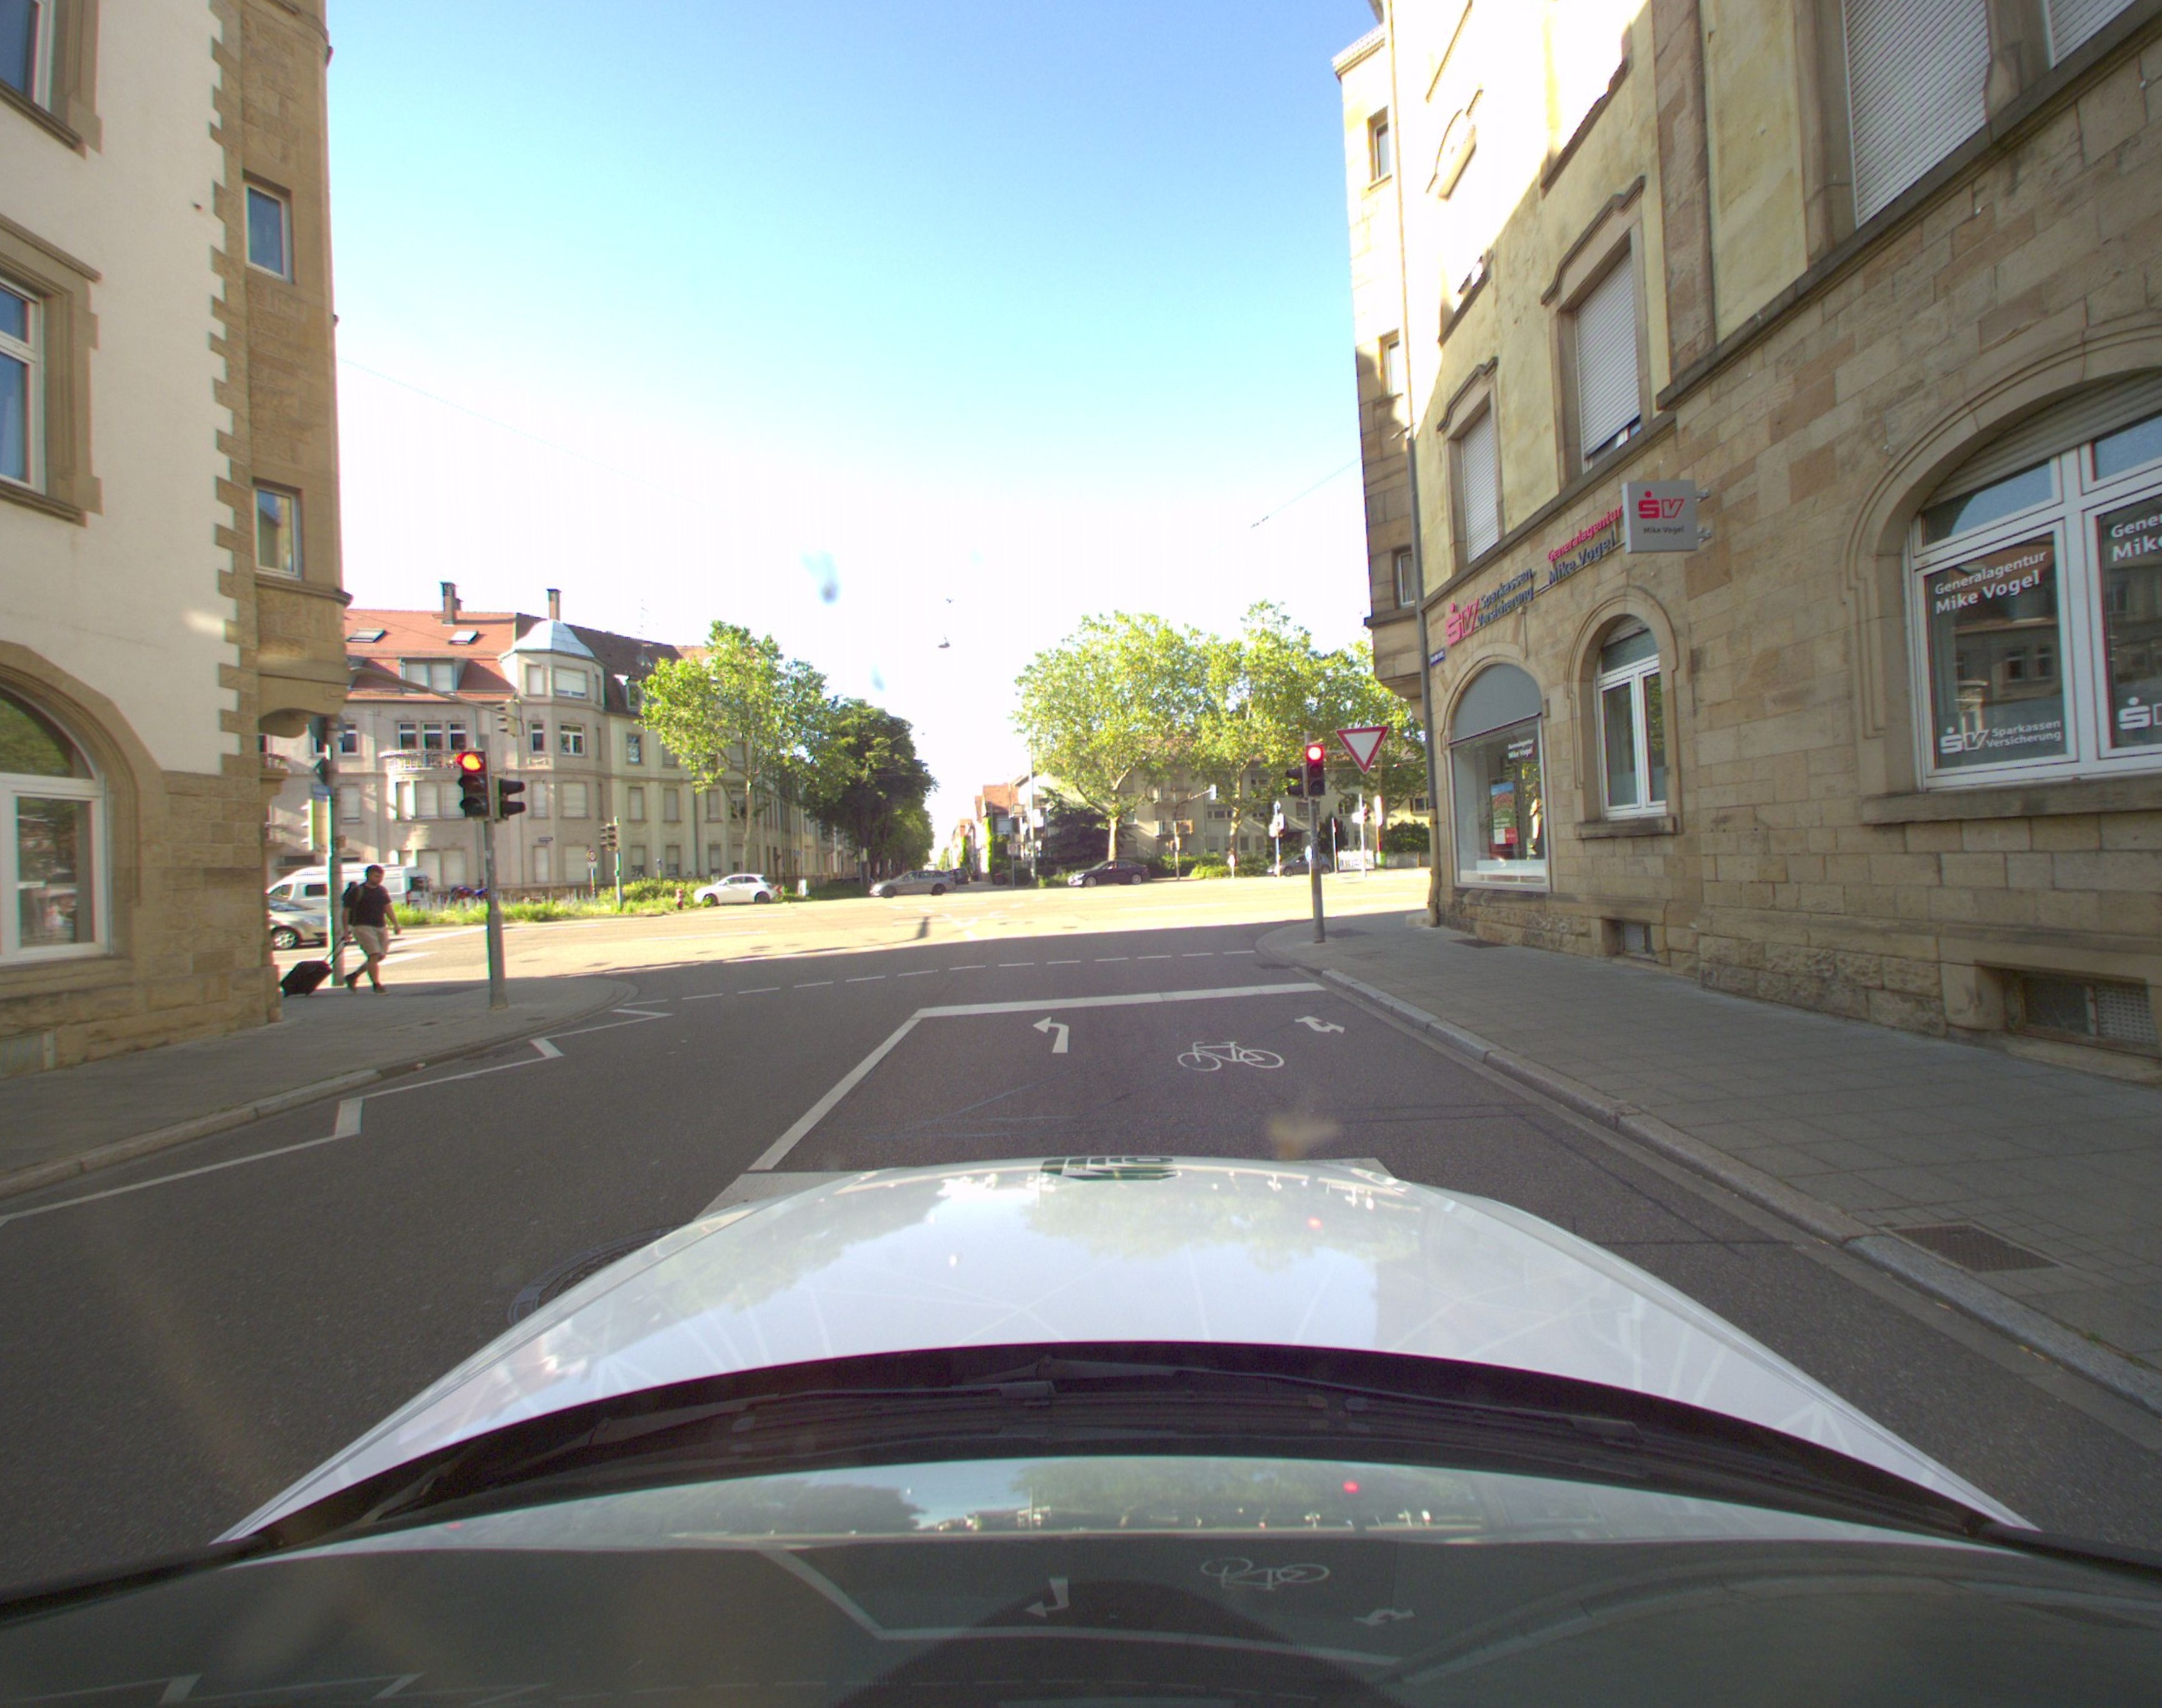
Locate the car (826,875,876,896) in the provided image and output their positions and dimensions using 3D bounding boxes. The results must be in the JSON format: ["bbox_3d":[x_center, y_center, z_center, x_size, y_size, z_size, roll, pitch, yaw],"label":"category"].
[{"bbox_3d":[-17.948,2.471,63.714,3.636,1.457,1.650,-2,0,-14],"label":"car"}]

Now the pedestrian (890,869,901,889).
[{"bbox_3d":[-13.346,1.814,58.522,0.704,1.442,0.487,0,-1,-17],"label":"pedestrian"}]

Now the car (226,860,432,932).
[{"bbox_3d":[-31.761,1.708,34.645,6.123,2.637,1.884,-2,-1,-17],"label":"car"}]

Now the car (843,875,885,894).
[{"bbox_3d":[-19.905,2.791,74.776,3.636,1.457,1.650,-2,0,-14],"label":"car"}]

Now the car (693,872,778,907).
[{"bbox_3d":[-16.649,1.699,39.392,3.641,1.457,1.494,-2,0,-18],"label":"car"}]

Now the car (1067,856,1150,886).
[{"bbox_3d":[1.531,0.921,45.024,4.281,1.400,1.635,-2,0,-20],"label":"car"}]

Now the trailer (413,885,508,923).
[{"bbox_3d":[-27.378,2.187,36.006,2.955,1.457,1.505,-2,0,-18],"label":"trailer"}]

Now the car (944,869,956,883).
[{"bbox_3d":[-20.740,3.486,128.816,1.773,1.918,3.522,-4,0,-10],"label":"car"}]

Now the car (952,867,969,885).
[{"bbox_3d":[-14.111,2.515,95.038,1.773,1.918,3.522,-4,0,-10],"label":"car"}]

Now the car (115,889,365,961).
[{"bbox_3d":[-21.896,1.808,21.418,4.212,1.456,1.669,-3,0,-17],"label":"car"}]

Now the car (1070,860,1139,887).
[{"bbox_3d":[1.397,1.143,48.739,3.793,1.400,1.635,-2,0,-20],"label":"car"}]

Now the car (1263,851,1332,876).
[{"bbox_3d":[13.888,0.606,52.269,3.942,1.400,1.639,-2,0,-12],"label":"car"}]

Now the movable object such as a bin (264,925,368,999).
[{"bbox_3d":[-10.492,1.470,11.187,0.862,0.892,0.507,-3,0,-11],"label":"movable object such as a bin"}]

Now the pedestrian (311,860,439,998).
[{"bbox_3d":[-9.870,1.027,11.435,1.066,1.849,0.746,0,-3,-11],"label":"pedestrian"}]

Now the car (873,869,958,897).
[{"bbox_3d":[-9.179,1.598,45.106,4.399,1.316,1.636,-2,0,-18],"label":"car"}]
